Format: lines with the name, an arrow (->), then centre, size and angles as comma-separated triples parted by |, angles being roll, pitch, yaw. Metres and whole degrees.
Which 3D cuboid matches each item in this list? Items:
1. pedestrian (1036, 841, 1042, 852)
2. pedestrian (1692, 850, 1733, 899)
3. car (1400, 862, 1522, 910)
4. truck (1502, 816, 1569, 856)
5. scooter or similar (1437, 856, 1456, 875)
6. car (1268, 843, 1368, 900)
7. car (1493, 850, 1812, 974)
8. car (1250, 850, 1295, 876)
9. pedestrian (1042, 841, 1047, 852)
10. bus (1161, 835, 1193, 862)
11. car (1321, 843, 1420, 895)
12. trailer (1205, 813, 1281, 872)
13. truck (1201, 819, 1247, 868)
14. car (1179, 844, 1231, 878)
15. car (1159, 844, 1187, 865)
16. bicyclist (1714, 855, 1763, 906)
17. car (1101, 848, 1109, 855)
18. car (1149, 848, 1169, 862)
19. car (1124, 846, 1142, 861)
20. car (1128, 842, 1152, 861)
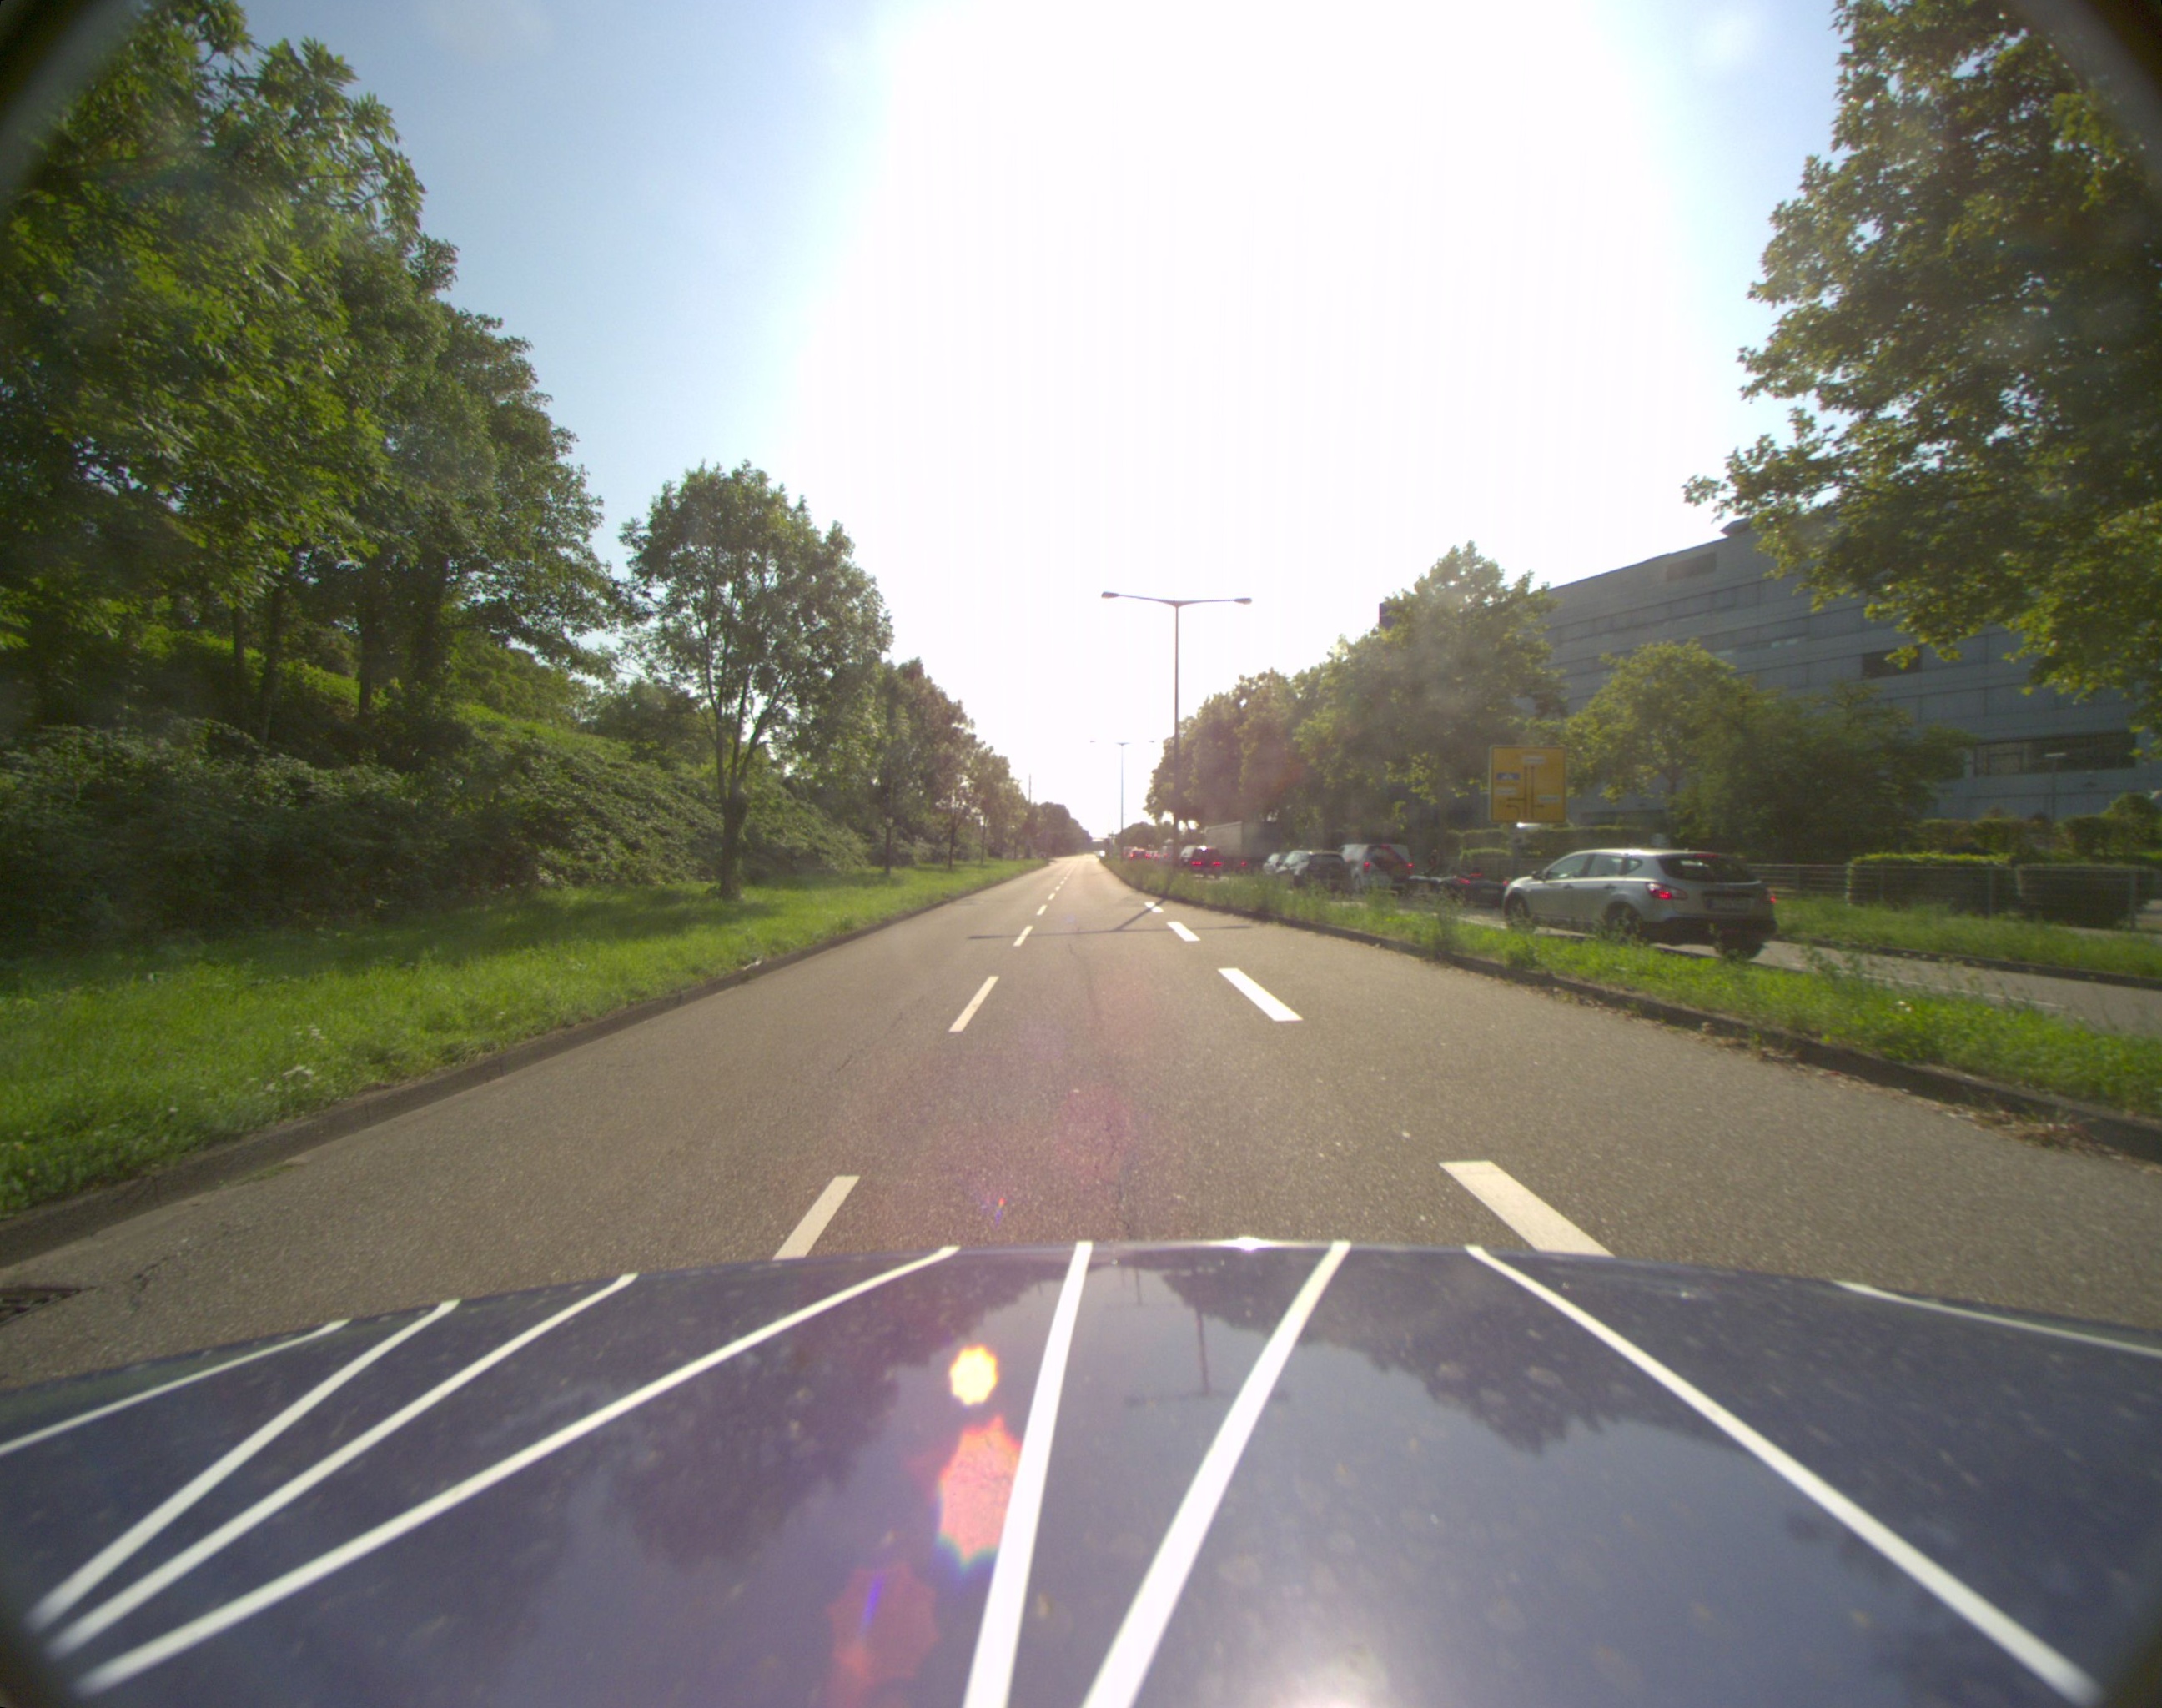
pedestrian -> -6.129, -1.096, 111.000 | 0.573, 1.558, 0.535 | -2, 2, -41
pedestrian -> 21.740, 0.688, 26.167 | 0.618, 1.643, 0.933 | -1, 1, 0
car -> 11.530, 0.919, 23.383 | 1.795, 1.255, 4.095 | 1, 1, 2
truck -> 33.534, -1.306, 55.998 | 5.916, 2.844, 2.233 | -1, 1, -37
scooter or similar -> 22.640, 0.725, 47.080 | 0.510, 1.121, 1.381 | -1, 1, 2
car -> 8.017, 0.541, 26.139 | 1.999, 1.749, 4.306 | 2, 1, -1
car -> 8.499, 0.738, 11.875 | 1.884, 1.584, 4.108 | 0, 0, 0
car -> 11.248, 0.501, 44.834 | 1.750, 1.471, 3.831 | 1, 1, 1
pedestrian -> -5.301, -1.112, 110.632 | 0.570, 1.672, 0.493 | 0, 1, 32
bus -> 11.867, -0.717, 94.599 | 2.596, 3.062, 12.311 | -1, 1, 1
car -> 11.359, 0.531, 30.241 | 1.989, 1.848, 4.968 | 2, 1, 0
trailer -> 11.723, -0.810, 56.542 | 2.640, 3.799, 13.810 | 1, 1, 0
truck -> 11.773, -0.881, 62.952 | 2.614, 3.797, 5.890 | 1, 1, 0
car -> 6.842, 0.356, 42.312 | 1.999, 1.749, 4.476 | 1, 0, -2
car -> 8.600, 0.013, 71.593 | 1.998, 1.942, 5.035 | 1, 1, 0
bicyclist -> 18.889, 0.748, 21.850 | 0.650, 1.431, 0.840 | 0, 1, 0
car -> 5.461, -0.491, 172.180 | 1.544, 1.433, 3.396 | 0, -1, 4
car -> 8.581, 0.092, 83.624 | 1.699, 1.520, 4.139 | 2, 1, 0
car -> 6.408, -0.056, 94.398 | 1.916, 1.853, 4.889 | 1, 0, 0
car -> 5.638, -0.243, 72.958 | 1.959, 1.714, 4.587 | 1, 0, 0
